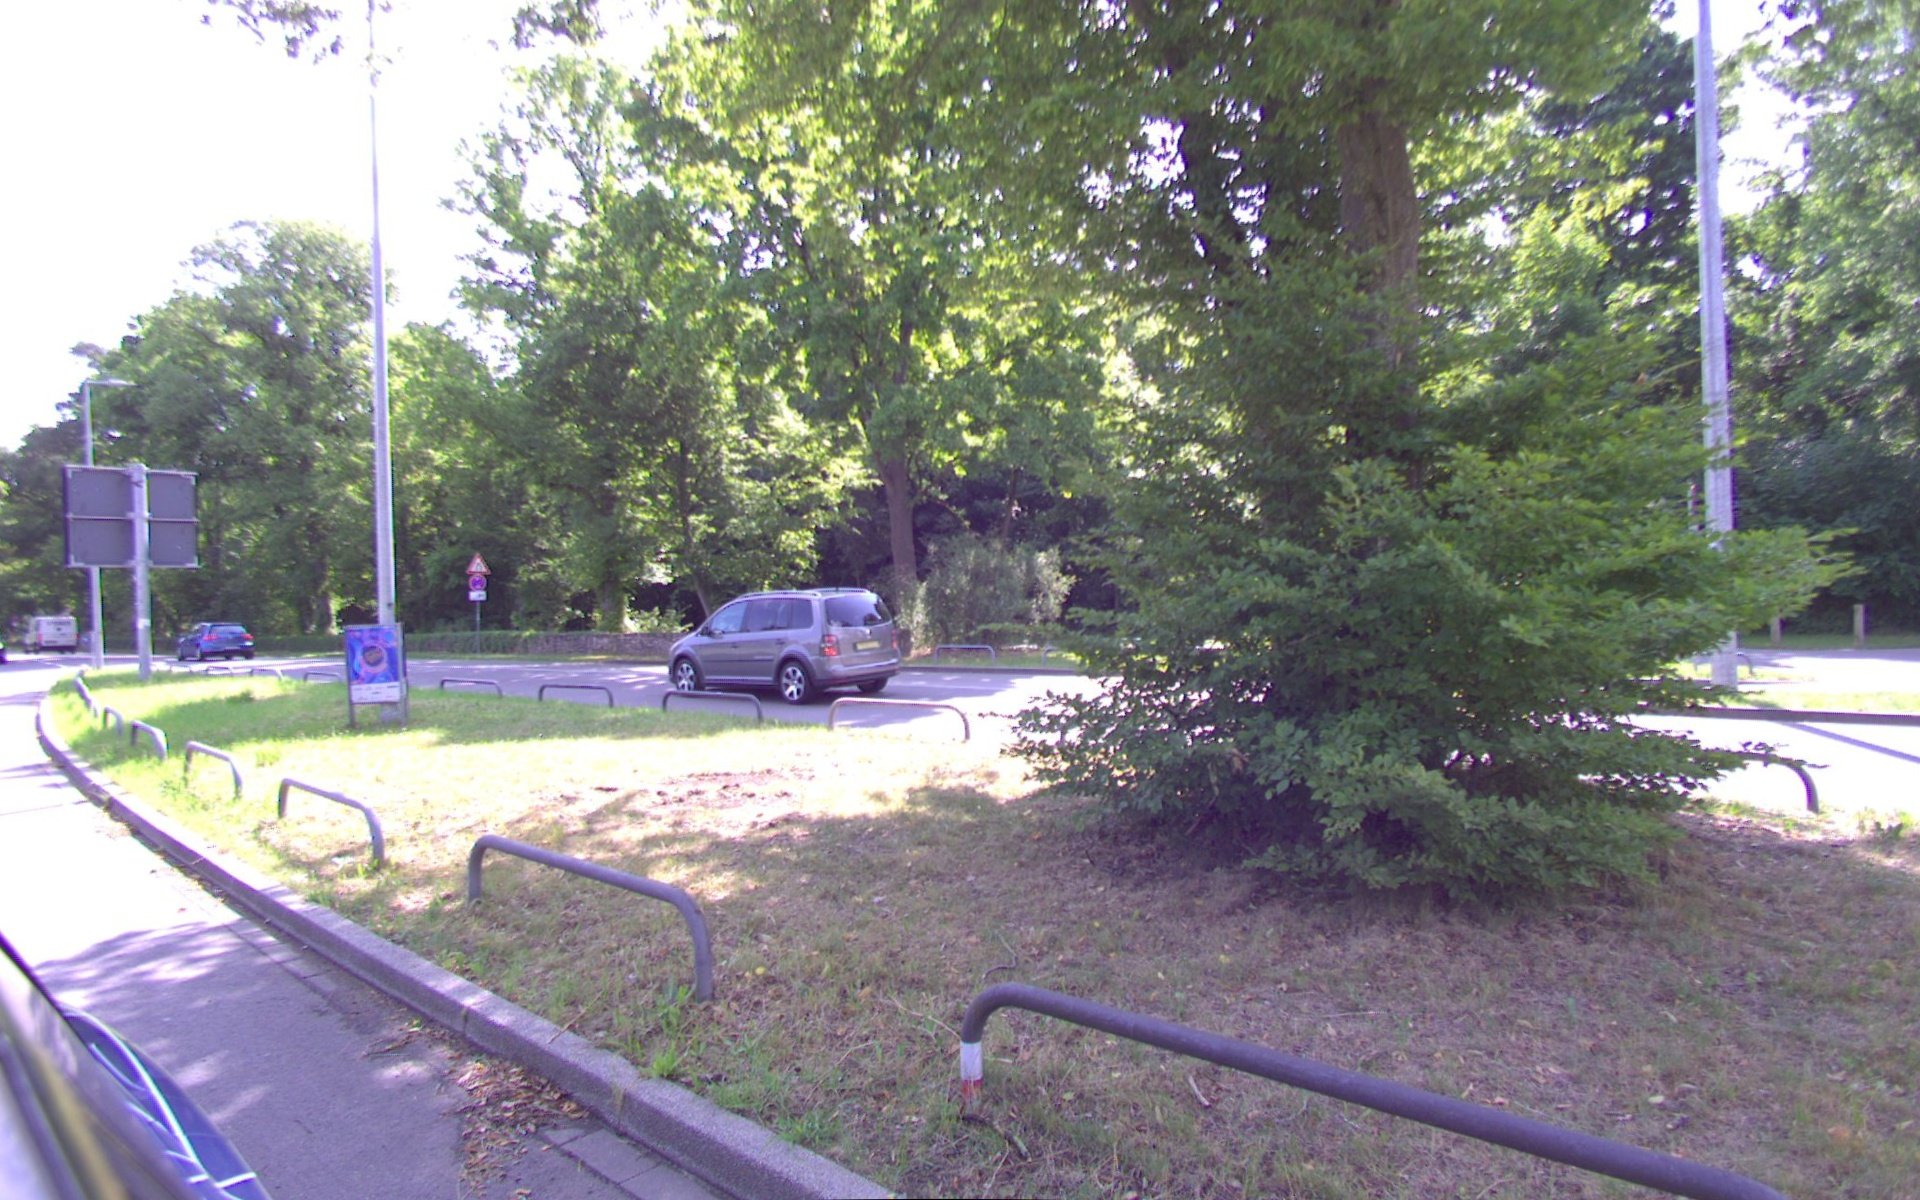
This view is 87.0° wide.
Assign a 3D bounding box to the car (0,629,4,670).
[{"bbox_3d":[-44.886,2.249,45.933,4.709,1.778,1.953,-1,1,44],"label":"car"}]

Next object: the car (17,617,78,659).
[{"bbox_3d":[-57.982,2.365,64.285,5.356,2.449,1.956,-1,1,38],"label":"car"}]

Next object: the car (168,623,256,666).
[{"bbox_3d":[-28.661,1.676,38.744,4.062,1.457,1.678,-1,2,38],"label":"car"}]

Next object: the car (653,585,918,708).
[{"bbox_3d":[-2.873,0.708,16.126,4.295,1.642,1.744,-2,1,40],"label":"car"}]
